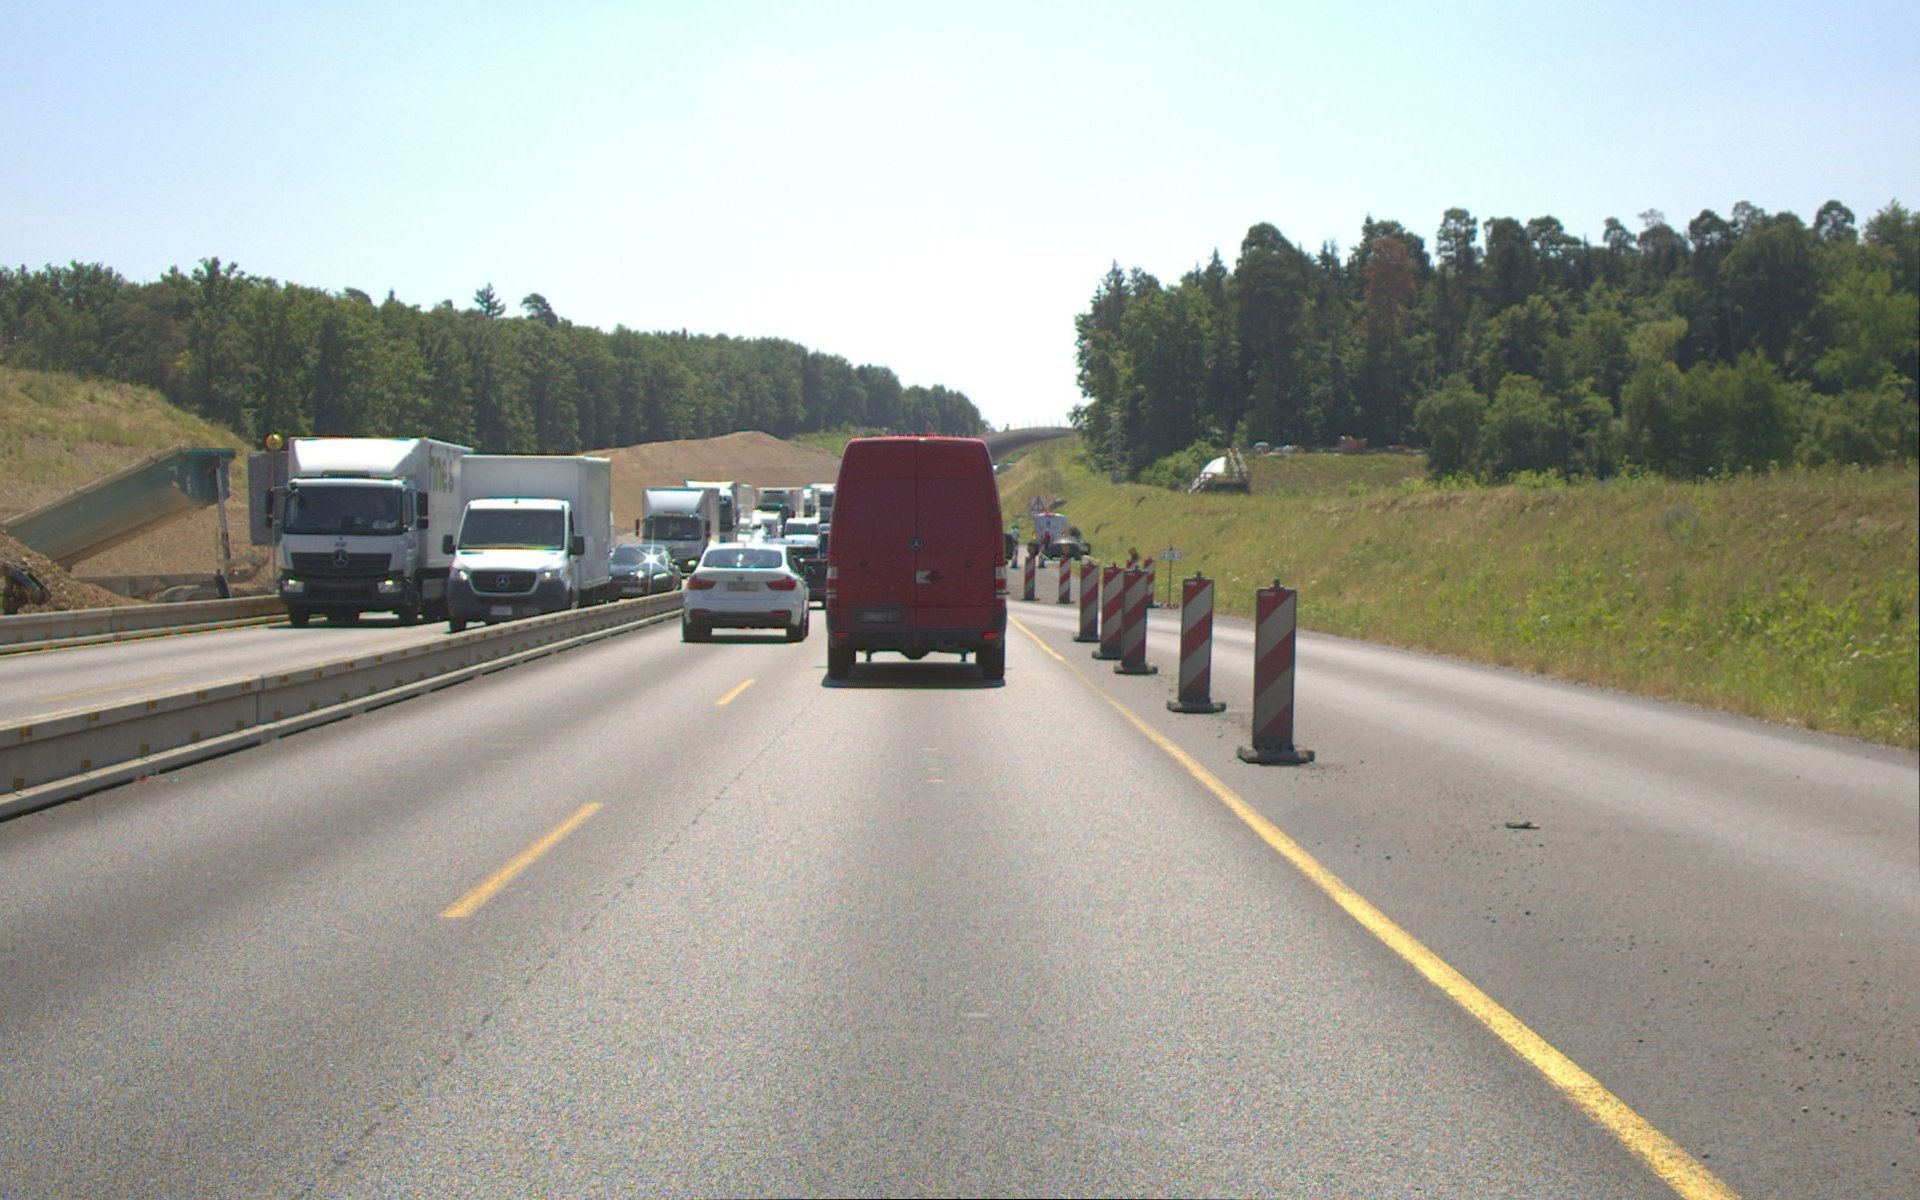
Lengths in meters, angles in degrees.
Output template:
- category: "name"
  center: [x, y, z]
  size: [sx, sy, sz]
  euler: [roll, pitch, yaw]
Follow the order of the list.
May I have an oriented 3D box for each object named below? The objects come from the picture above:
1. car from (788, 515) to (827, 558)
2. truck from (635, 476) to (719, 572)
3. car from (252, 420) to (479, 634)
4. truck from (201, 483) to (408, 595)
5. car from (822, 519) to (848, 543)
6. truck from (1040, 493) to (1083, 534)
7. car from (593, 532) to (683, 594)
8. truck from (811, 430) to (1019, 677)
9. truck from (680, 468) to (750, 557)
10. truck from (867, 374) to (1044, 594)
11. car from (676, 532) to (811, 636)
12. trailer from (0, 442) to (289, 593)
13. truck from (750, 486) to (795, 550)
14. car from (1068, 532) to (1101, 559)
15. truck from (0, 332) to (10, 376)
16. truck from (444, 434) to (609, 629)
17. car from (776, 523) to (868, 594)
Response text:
- category: "car"
  center: [-8.412, -3.514, 190.237]
  size: [1.993, 2.284, 5.344]
  euler: [1, 2, -1]
- category: "truck"
  center: [-11.310, -2.994, 138.015]
  size: [2.644, 3.703, 9.483]
  euler: [1, 1, -1]
- category: "car"
  center: [-11.055, -1.395, 64.681]
  size: [2.908, 3.727, 8.091]
  euler: [1, 1, -1]
- category: "truck"
  center: [-18.141, -1.661, 95.293]
  size: [2.585, 2.954, 5.049]
  euler: [1, 0, 42]
- category: "car"
  center: [-8.596, -4.744, 237.092]
  size: [1.688, 1.608, 4.594]
  euler: [1, 1, -1]
- category: "truck"
  center: [6.293, -5.372, 211.853]
  size: [2.130, 2.448, 5.924]
  euler: [1, 2, 6]
- category: "car"
  center: [-7.904, -0.913, 84.645]
  size: [1.788, 1.477, 4.561]
  euler: [1, 1, 0]
- category: "truck"
  center: [-0.495, -0.524, 38.957]
  size: [2.153, 2.581, 5.333]
  euler: [1, 1, 0]
- category: "truck"
  center: [-11.211, -3.973, 157.442]
  size: [2.848, 4.004, 4.859]
  euler: [-1, 1, -1]
- category: "truck"
  center: [-0.175, -3.022, 95.186]
  size: [4.400, 5.477, 16.604]
  euler: [1, 1, 0]
- category: "car"
  center: [-3.295, -0.266, 52.924]
  size: [1.831, 1.517, 3.961]
  euler: [1, 1, 0]
- category: "trailer"
  center: [-23.063, -2.319, 95.903]
  size: [8.352, 4.084, 2.796]
  euler: [1, 1, 23]
- category: "truck"
  center: [-12.473, -5.460, 229.180]
  size: [2.491, 4.184, 5.912]
  euler: [-1, 1, 2]
- category: "car"
  center: [7.041, -3.087, 193.960]
  size: [1.654, 1.422, 4.545]
  euler: [-2, 2, 0]
- category: "truck"
  center: [-64.715, -15.924, 224.214]
  size: [2.295, 2.739, 8.905]
  euler: [1, 1, -36]
- category: "truck"
  center: [-7.435, -1.158, 59.631]
  size: [2.271, 3.139, 7.315]
  euler: [1, 1, -3]
- category: "car"
  center: [-3.149, -0.987, 79.112]
  size: [1.967, 1.536, 4.311]
  euler: [1, 2, 0]
